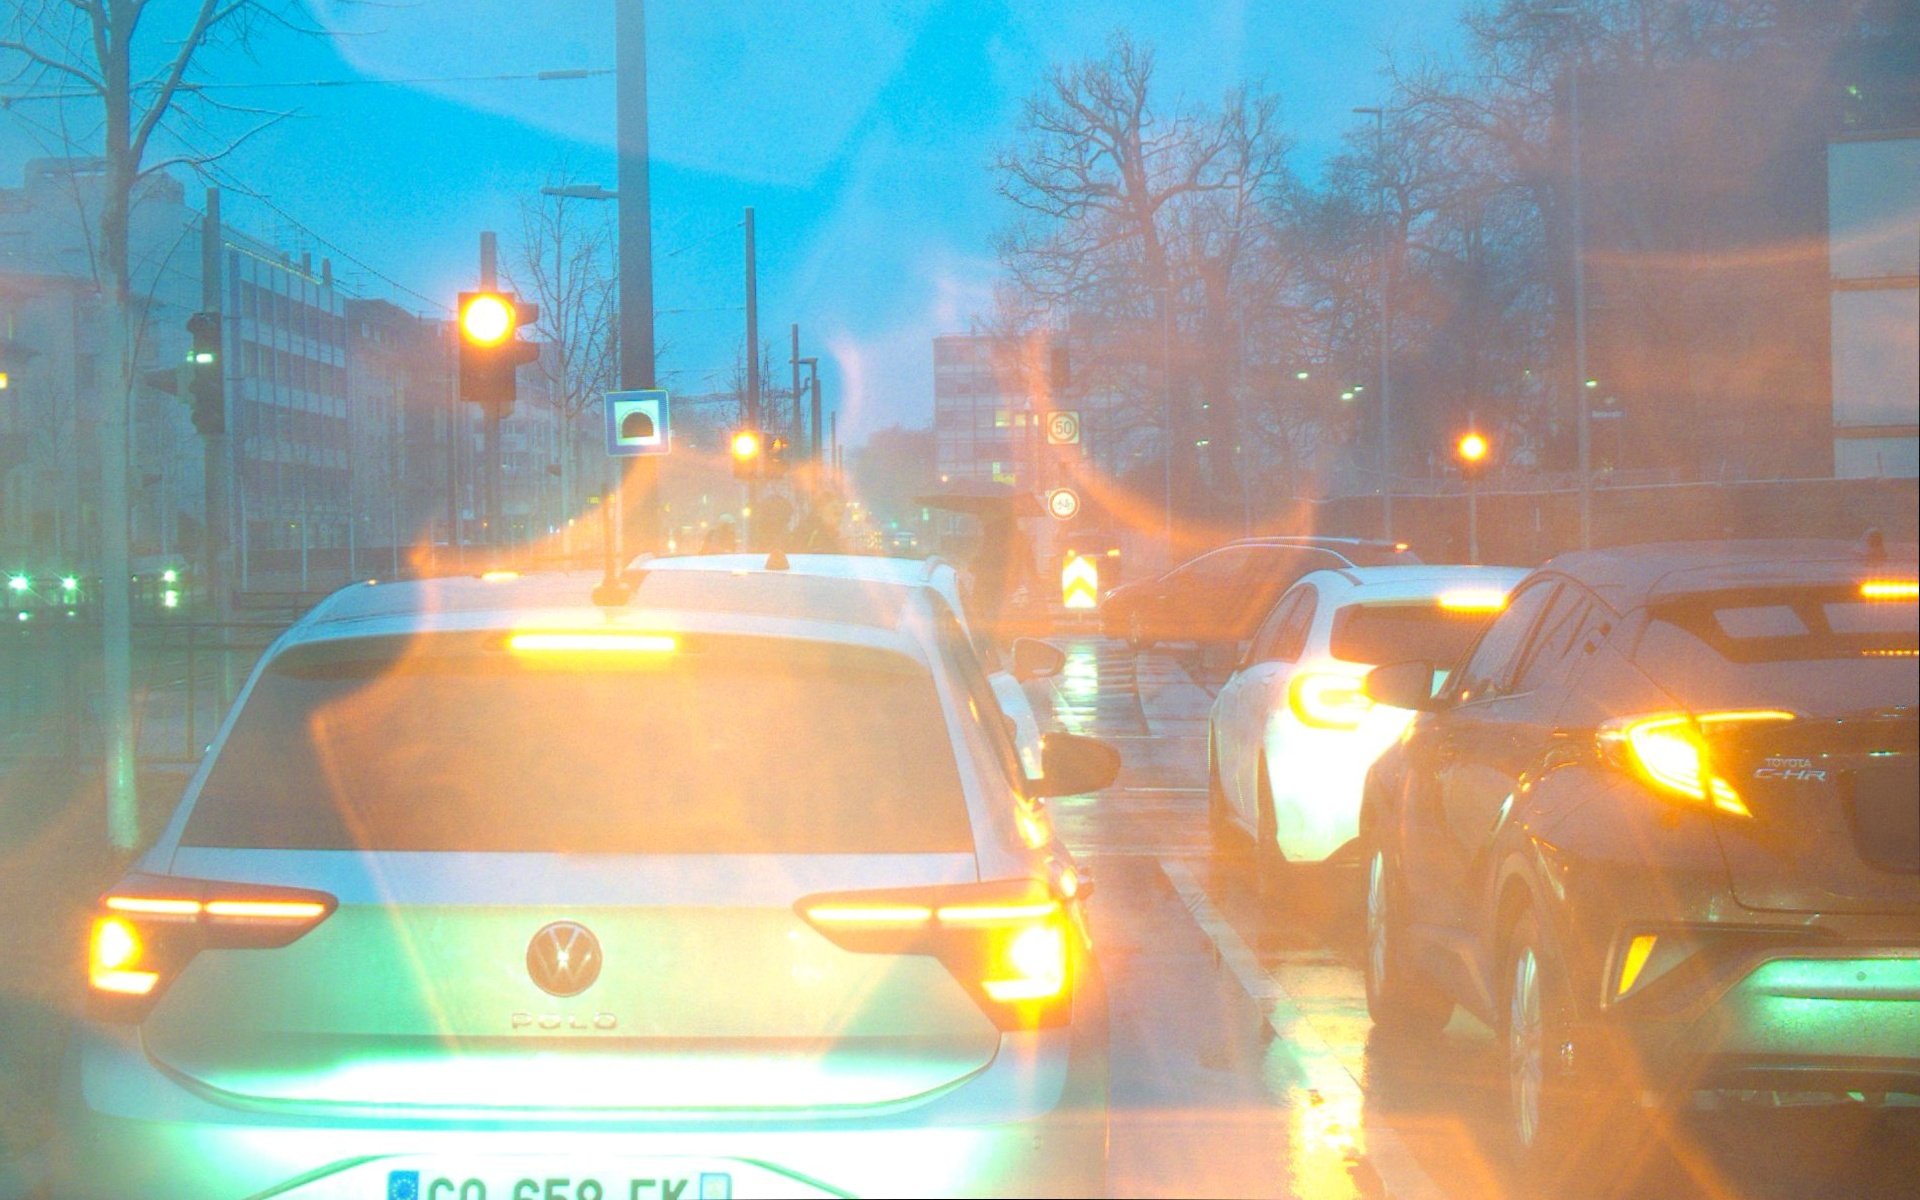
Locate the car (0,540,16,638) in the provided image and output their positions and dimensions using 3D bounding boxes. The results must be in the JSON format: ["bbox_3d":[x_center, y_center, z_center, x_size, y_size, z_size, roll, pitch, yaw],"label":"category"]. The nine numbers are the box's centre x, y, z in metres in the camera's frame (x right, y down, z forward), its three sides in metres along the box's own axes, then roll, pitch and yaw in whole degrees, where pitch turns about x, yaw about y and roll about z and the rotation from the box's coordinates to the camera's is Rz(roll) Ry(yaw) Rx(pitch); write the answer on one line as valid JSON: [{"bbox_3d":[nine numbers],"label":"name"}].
[{"bbox_3d":[-16.676,-0.185,55.195,1.993,1.597,4.000,1,1,-1],"label":"car"}]

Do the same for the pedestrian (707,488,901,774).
[{"bbox_3d":[-1.120,0.206,24.785,0.960,2.007,1.006,0,1,34],"label":"pedestrian"}]

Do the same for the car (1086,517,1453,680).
[{"bbox_3d":[3.873,-0.053,43.473,4.283,1.937,1.995,2,1,44],"label":"car"}]

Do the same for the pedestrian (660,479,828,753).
[{"bbox_3d":[-1.636,0.104,25.915,0.958,2.007,1.008,-1,1,-23],"label":"pedestrian"}]

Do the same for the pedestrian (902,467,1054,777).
[{"bbox_3d":[0.132,0.133,22.891,0.959,2.007,1.008,-1,1,2],"label":"pedestrian"}]

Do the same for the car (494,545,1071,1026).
[{"bbox_3d":[-0.576,0.551,13.189,1.799,1.461,4.586,-1,1,0],"label":"car"}]

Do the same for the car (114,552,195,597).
[{"bbox_3d":[-29.063,-0.932,124.149,1.950,1.597,4.000,1,1,0],"label":"car"}]

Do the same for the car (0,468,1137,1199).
[{"bbox_3d":[-0.647,0.533,6.947,1.693,1.528,4.001,0,1,-1],"label":"car"}]

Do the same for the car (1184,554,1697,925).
[{"bbox_3d":[2.013,0.523,15.399,1.745,1.428,3.731,1,1,0],"label":"car"}]

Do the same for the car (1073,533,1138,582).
[{"bbox_3d":[4.348,-1.283,102.821,1.737,1.415,3.703,-1,1,0],"label":"car"}]

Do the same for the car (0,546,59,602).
[{"bbox_3d":[-27.814,-0.778,100.353,1.950,1.597,4.000,1,1,0],"label":"car"}]

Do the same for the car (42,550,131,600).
[{"bbox_3d":[-29.193,-0.841,114.987,1.950,1.597,4.000,1,1,0],"label":"car"}]

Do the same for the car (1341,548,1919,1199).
[{"bbox_3d":[2.128,0.632,8.970,1.800,1.505,3.895,-1,1,0],"label":"car"}]
